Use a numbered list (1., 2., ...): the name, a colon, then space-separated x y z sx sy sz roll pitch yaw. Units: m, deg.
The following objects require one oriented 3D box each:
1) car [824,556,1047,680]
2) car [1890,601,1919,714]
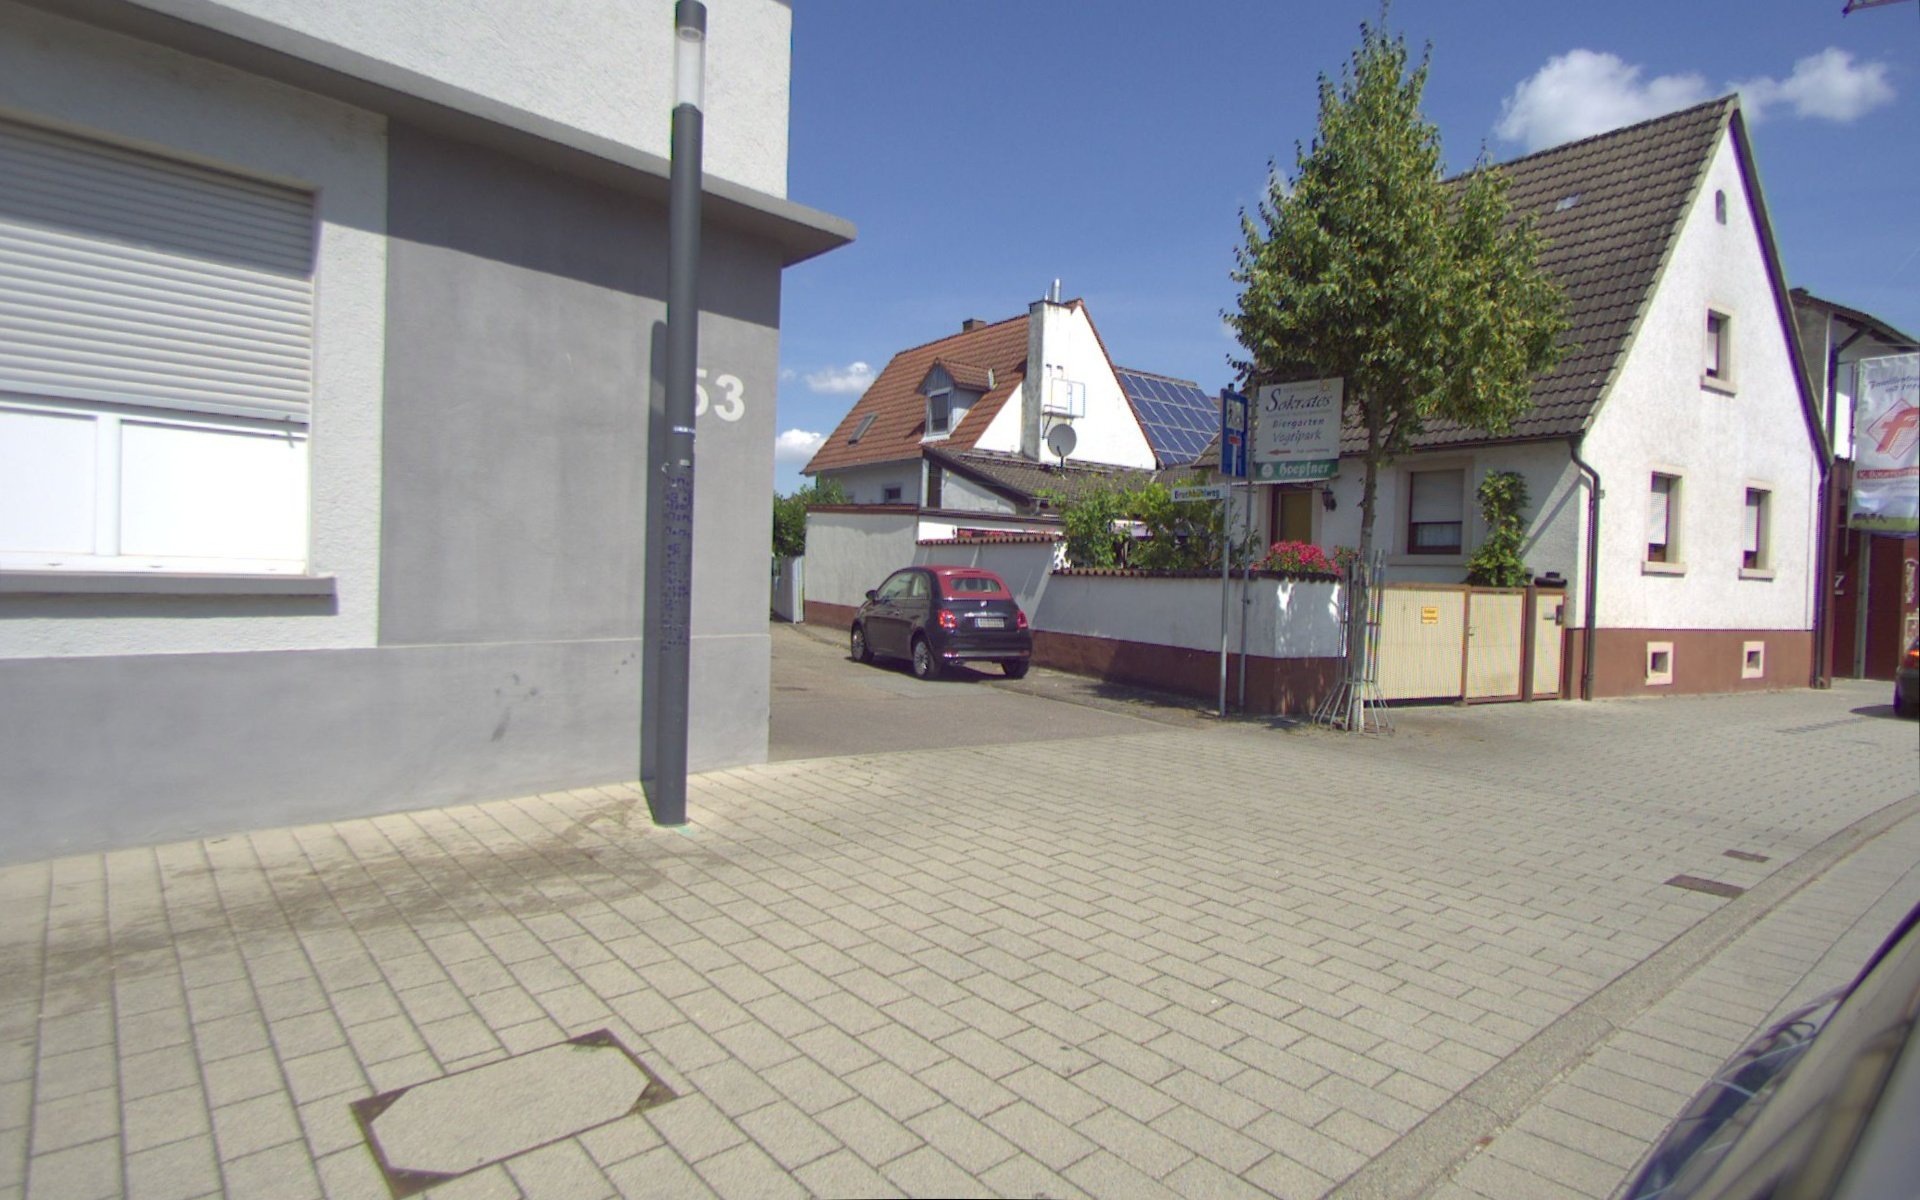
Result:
1. car: -0.505 0.160 14.851 1.645 1.538 3.820 1 2 -29
2. car: 14.529 0.820 13.788 4.039 1.456 1.766 1 3 -34
